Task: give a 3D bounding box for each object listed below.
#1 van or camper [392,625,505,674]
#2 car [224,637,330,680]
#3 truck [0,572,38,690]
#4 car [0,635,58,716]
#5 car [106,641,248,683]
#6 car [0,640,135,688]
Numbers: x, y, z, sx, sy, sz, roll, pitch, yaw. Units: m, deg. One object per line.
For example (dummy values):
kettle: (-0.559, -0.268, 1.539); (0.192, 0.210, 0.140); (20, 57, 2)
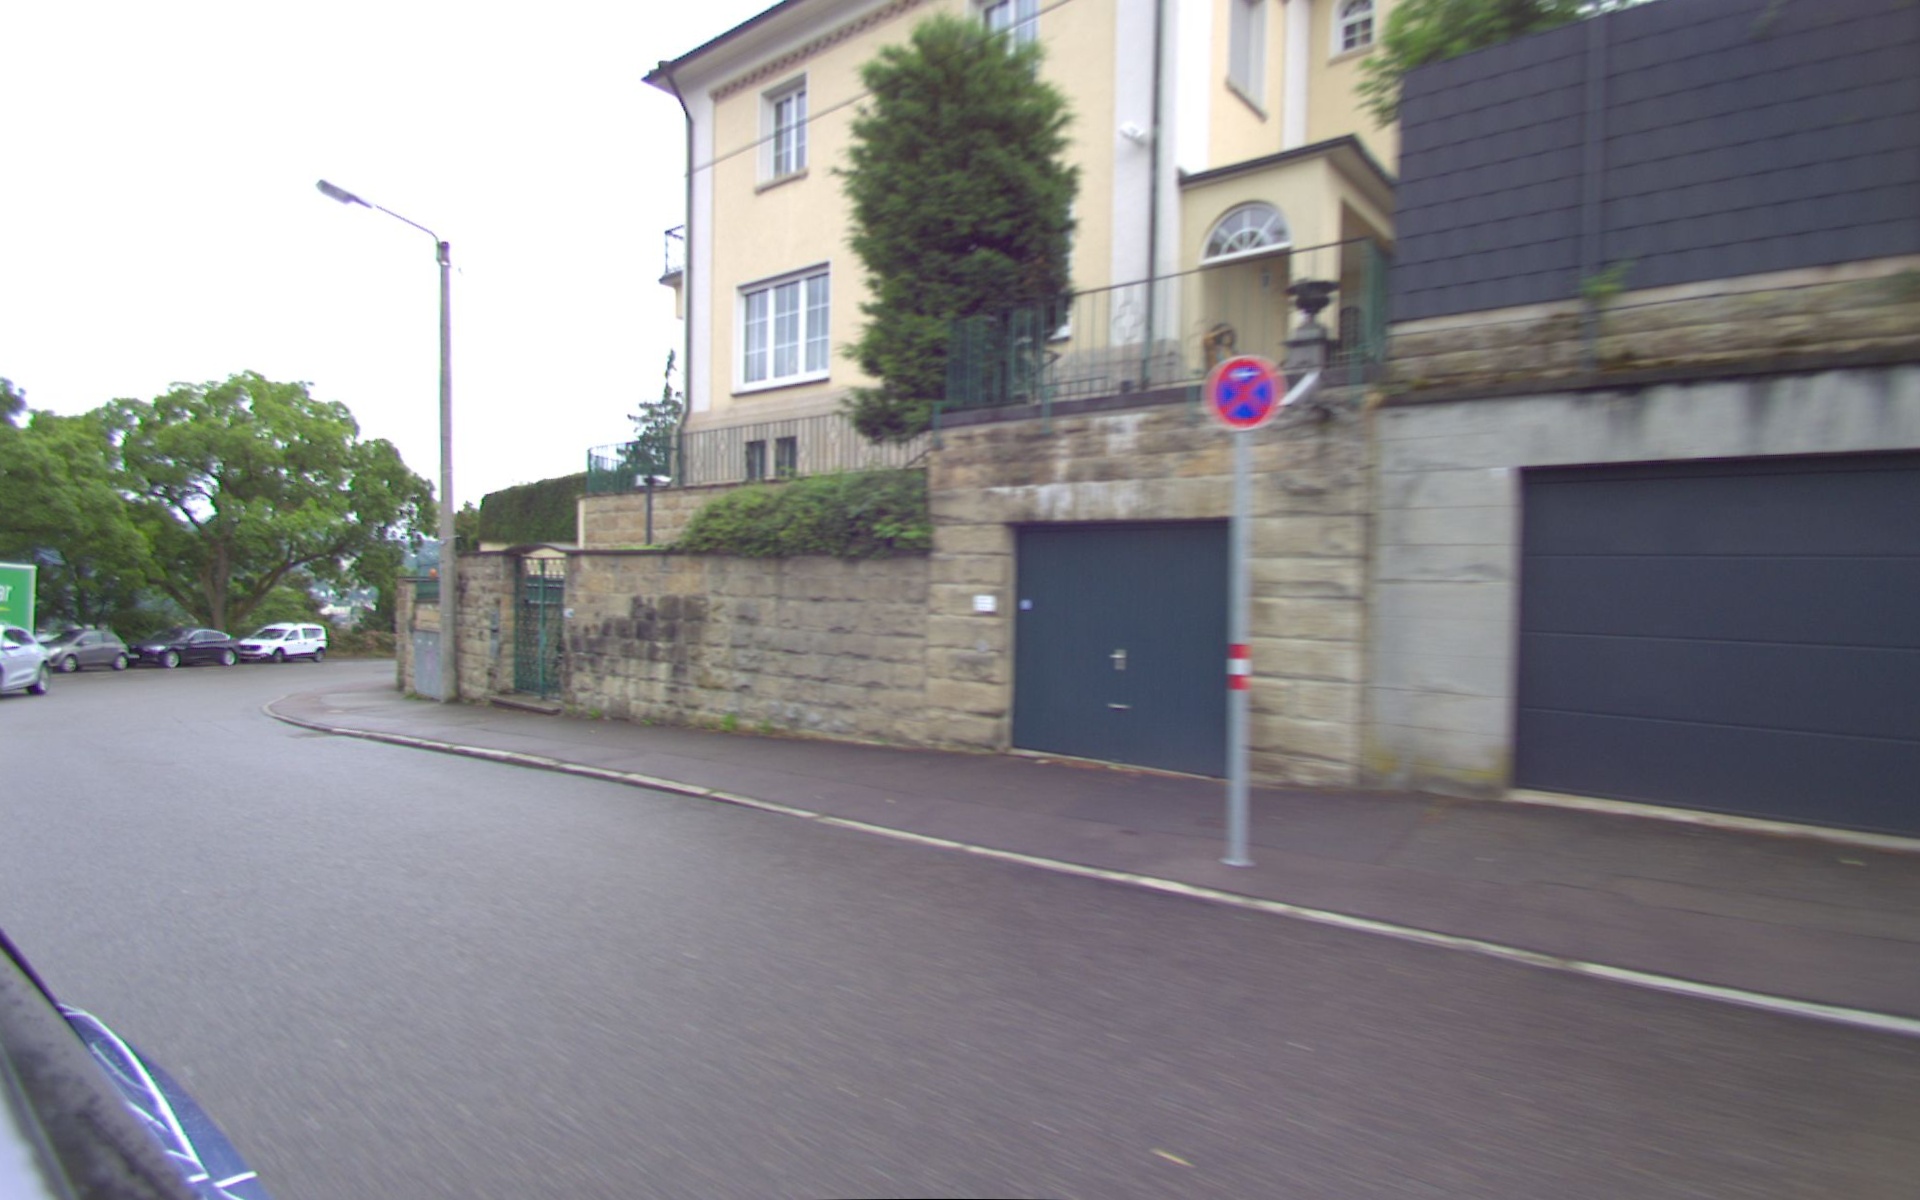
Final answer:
van or camper: (-28.872, 2.781, 57.381); (2.059, 2.600, 5.845); (0, -2, 21)
car: (-31.259, 2.659, 46.465); (1.728, 1.835, 4.421); (2, -3, 1)
truck: (-29.104, 0.758, 27.175); (2.735, 3.497, 8.959); (3, -3, -17)
car: (-21.714, 1.592, 21.735); (2.154, 1.721, 4.898); (2, -3, -26)
car: (-31.454, 2.472, 40.875); (1.840, 1.554, 4.893); (1, -3, 0)
car: (-31.027, 2.189, 35.126); (1.712, 1.515, 4.141); (2, -3, -6)
